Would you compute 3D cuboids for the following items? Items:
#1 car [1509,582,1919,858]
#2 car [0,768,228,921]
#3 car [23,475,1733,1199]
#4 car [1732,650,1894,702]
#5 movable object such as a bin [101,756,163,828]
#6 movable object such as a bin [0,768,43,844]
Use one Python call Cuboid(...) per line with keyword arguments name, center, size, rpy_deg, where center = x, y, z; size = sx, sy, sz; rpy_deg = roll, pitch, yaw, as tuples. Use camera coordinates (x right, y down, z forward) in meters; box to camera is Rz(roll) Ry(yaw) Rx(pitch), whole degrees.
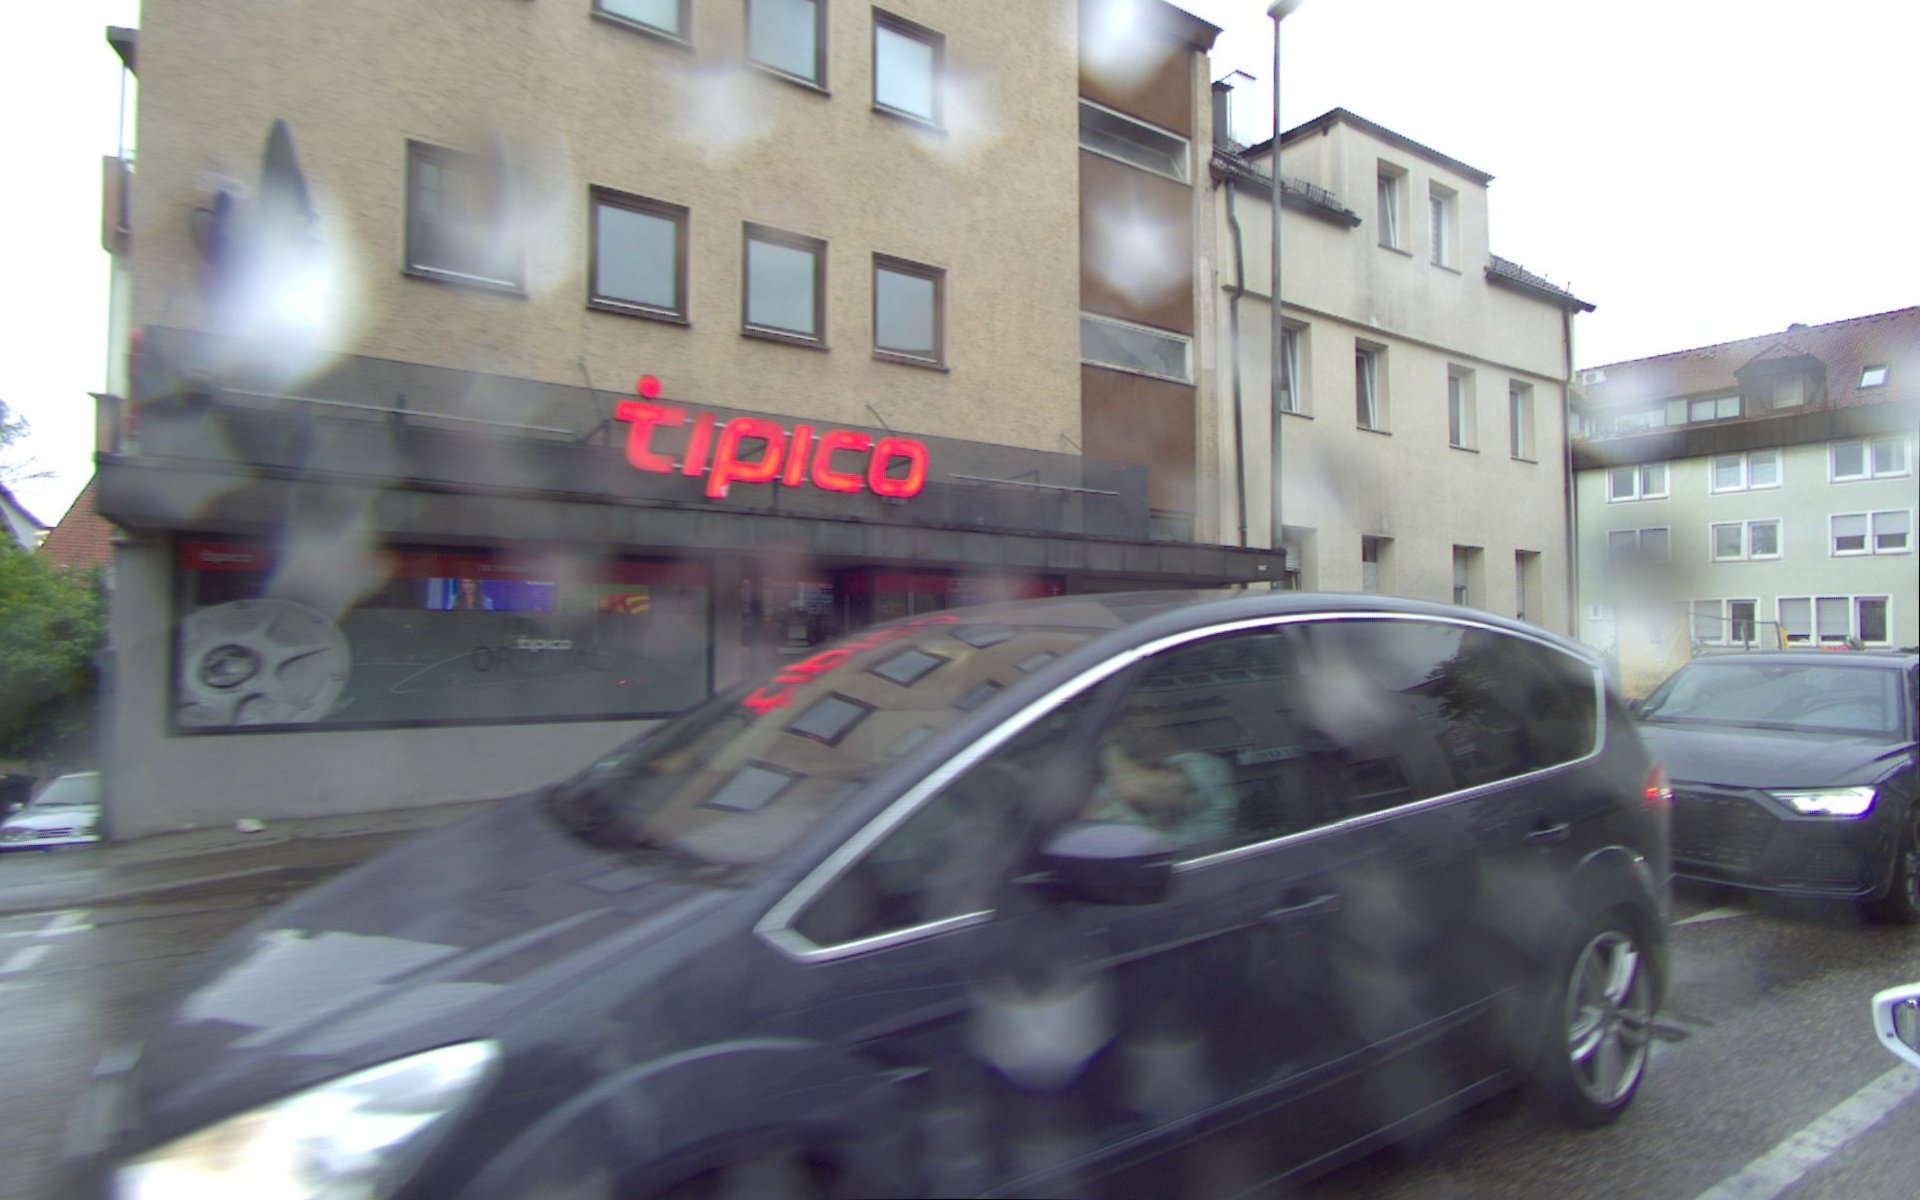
Cuboid(name="car", center=(5.499, 0.656, 6.692), size=(3.911, 1.352, 1.607), rpy_deg=(2, -2, -33))
Cuboid(name="car", center=(-10.860, 2.994, 12.867), size=(1.707, 1.500, 3.844), rpy_deg=(1, -8, -26))
Cuboid(name="car", center=(0.361, 0.733, 3.001), size=(4.355, 1.583, 1.774), rpy_deg=(2, -2, -33))
Cuboid(name="car", center=(29.222, 2.628, 34.495), size=(1.781, 1.404, 3.974), rpy_deg=(0, -7, -43))
Cuboid(name="movable object such as a bin", center=(-15.258, 3.519, 18.526), size=(0.739, 1.180, 0.728), rpy_deg=(1, -4, -30))
Cuboid(name="movable object such as a bin", center=(-16.240, 3.504, 17.112), size=(0.739, 1.180, 0.728), rpy_deg=(1, -4, -30))
